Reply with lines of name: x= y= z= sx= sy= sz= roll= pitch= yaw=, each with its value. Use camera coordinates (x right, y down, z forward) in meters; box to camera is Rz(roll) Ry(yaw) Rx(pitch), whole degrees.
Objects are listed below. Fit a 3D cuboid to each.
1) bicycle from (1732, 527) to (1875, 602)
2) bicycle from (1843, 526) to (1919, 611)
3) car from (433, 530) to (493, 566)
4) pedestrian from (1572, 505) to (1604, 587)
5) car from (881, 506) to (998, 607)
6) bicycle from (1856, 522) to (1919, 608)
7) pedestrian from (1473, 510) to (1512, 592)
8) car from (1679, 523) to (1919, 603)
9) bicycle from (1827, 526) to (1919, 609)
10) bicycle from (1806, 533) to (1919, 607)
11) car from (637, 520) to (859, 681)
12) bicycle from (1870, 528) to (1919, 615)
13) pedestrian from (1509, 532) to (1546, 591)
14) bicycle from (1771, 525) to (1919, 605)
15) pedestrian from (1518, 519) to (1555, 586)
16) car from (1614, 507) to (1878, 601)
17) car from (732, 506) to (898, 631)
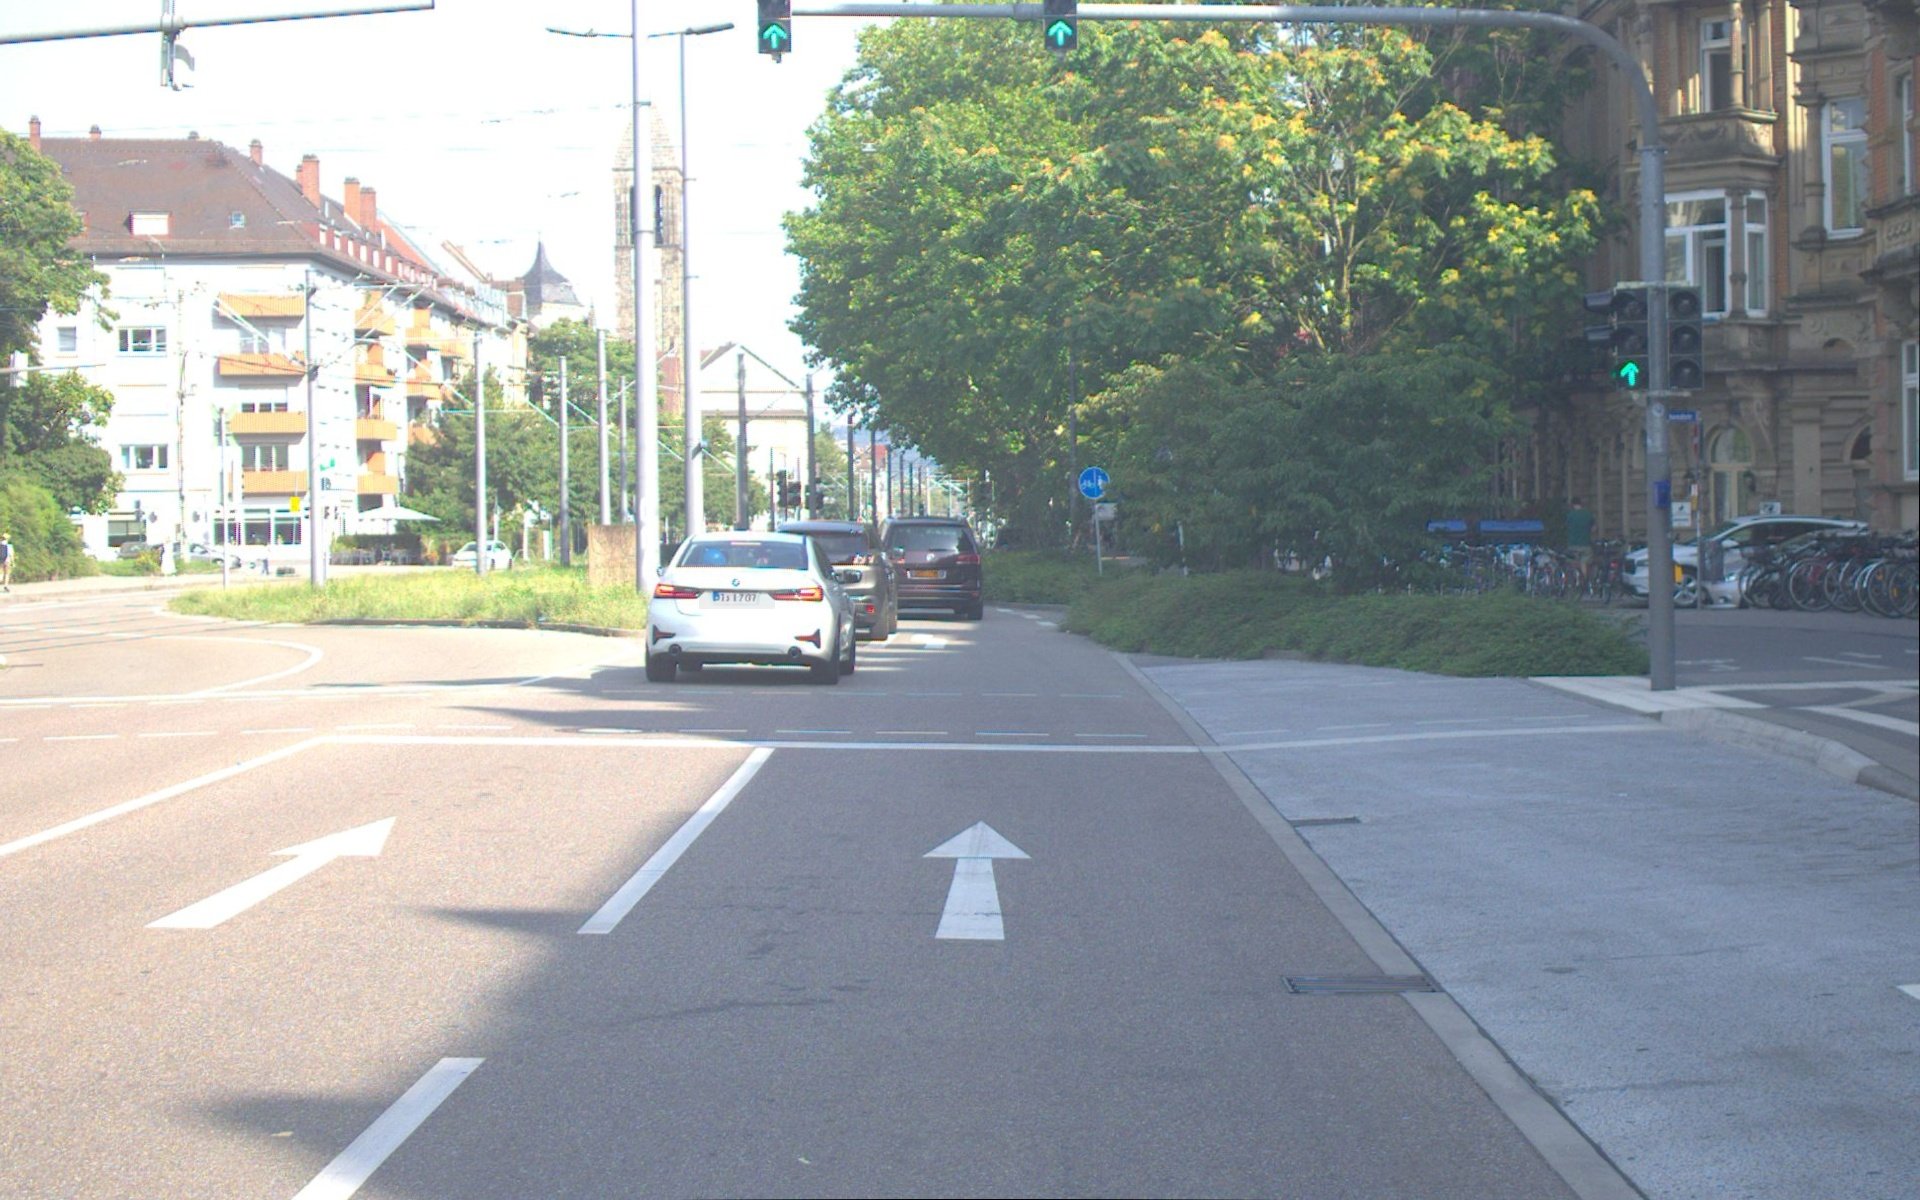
bicycle: x=12.236 y=-0.521 z=49.895 sx=1.927 sy=1.044 sz=0.527 roll=-1 pitch=1 yaw=-4
bicycle: x=12.133 y=-0.408 z=43.242 sx=1.927 sy=1.044 sz=0.500 roll=-1 pitch=1 yaw=-4
car: x=-21.153 y=-2.229 z=146.485 sx=1.993 sy=1.495 sz=4.000 roll=-1 pitch=1 yaw=-1
pedestrian: x=11.606 y=-0.993 z=63.518 sx=0.443 sy=1.501 sz=0.487 roll=-1 pitch=1 yaw=-4
car: x=-0.312 y=-0.758 z=57.904 sx=1.831 sy=1.615 sz=4.357 roll=1 pitch=1 yaw=1
bicycle: x=12.116 y=-0.443 z=42.528 sx=1.927 sy=1.044 sz=0.500 roll=-1 pitch=1 yaw=-4
pedestrian: x=9.504 y=-0.881 z=61.357 sx=0.574 sy=1.449 sz=0.731 roll=-1 pitch=1 yaw=2
car: x=13.892 y=-0.621 z=56.135 sx=3.936 sy=1.218 sz=1.547 roll=-1 pitch=1 yaw=-3
bicycle: x=12.331 y=-0.436 z=44.826 sx=1.927 sy=1.044 sz=0.500 roll=-1 pitch=1 yaw=-4
bicycle: x=12.243 y=-0.402 z=45.578 sx=1.927 sy=0.947 sz=0.500 roll=-1 pitch=1 yaw=-4
car: x=-2.008 y=-0.051 z=33.846 sx=1.809 sy=1.422 sz=4.775 roll=1 pitch=1 yaw=1
bicycle: x=12.097 y=-0.361 z=41.781 sx=1.927 sy=1.044 sz=0.500 roll=-1 pitch=1 yaw=-4
pedestrian: x=10.299 y=-0.701 z=62.360 sx=0.443 sy=1.067 sz=0.487 roll=-2 pitch=1 yaw=-29
bicycle: x=12.105 y=-0.478 z=46.928 sx=1.927 sy=1.044 sz=0.527 roll=-1 pitch=1 yaw=-4
pedestrian: x=10.994 y=-0.908 z=65.557 sx=0.598 sy=1.244 sz=0.506 roll=-1 pitch=1 yaw=0
car: x=13.976 y=-0.828 z=61.256 sx=4.180 sy=1.558 sz=2.000 roll=-1 pitch=1 yaw=-3
car: x=-1.938 y=-0.464 z=47.231 sx=1.993 sy=1.615 sz=4.357 roll=1 pitch=1 yaw=1
